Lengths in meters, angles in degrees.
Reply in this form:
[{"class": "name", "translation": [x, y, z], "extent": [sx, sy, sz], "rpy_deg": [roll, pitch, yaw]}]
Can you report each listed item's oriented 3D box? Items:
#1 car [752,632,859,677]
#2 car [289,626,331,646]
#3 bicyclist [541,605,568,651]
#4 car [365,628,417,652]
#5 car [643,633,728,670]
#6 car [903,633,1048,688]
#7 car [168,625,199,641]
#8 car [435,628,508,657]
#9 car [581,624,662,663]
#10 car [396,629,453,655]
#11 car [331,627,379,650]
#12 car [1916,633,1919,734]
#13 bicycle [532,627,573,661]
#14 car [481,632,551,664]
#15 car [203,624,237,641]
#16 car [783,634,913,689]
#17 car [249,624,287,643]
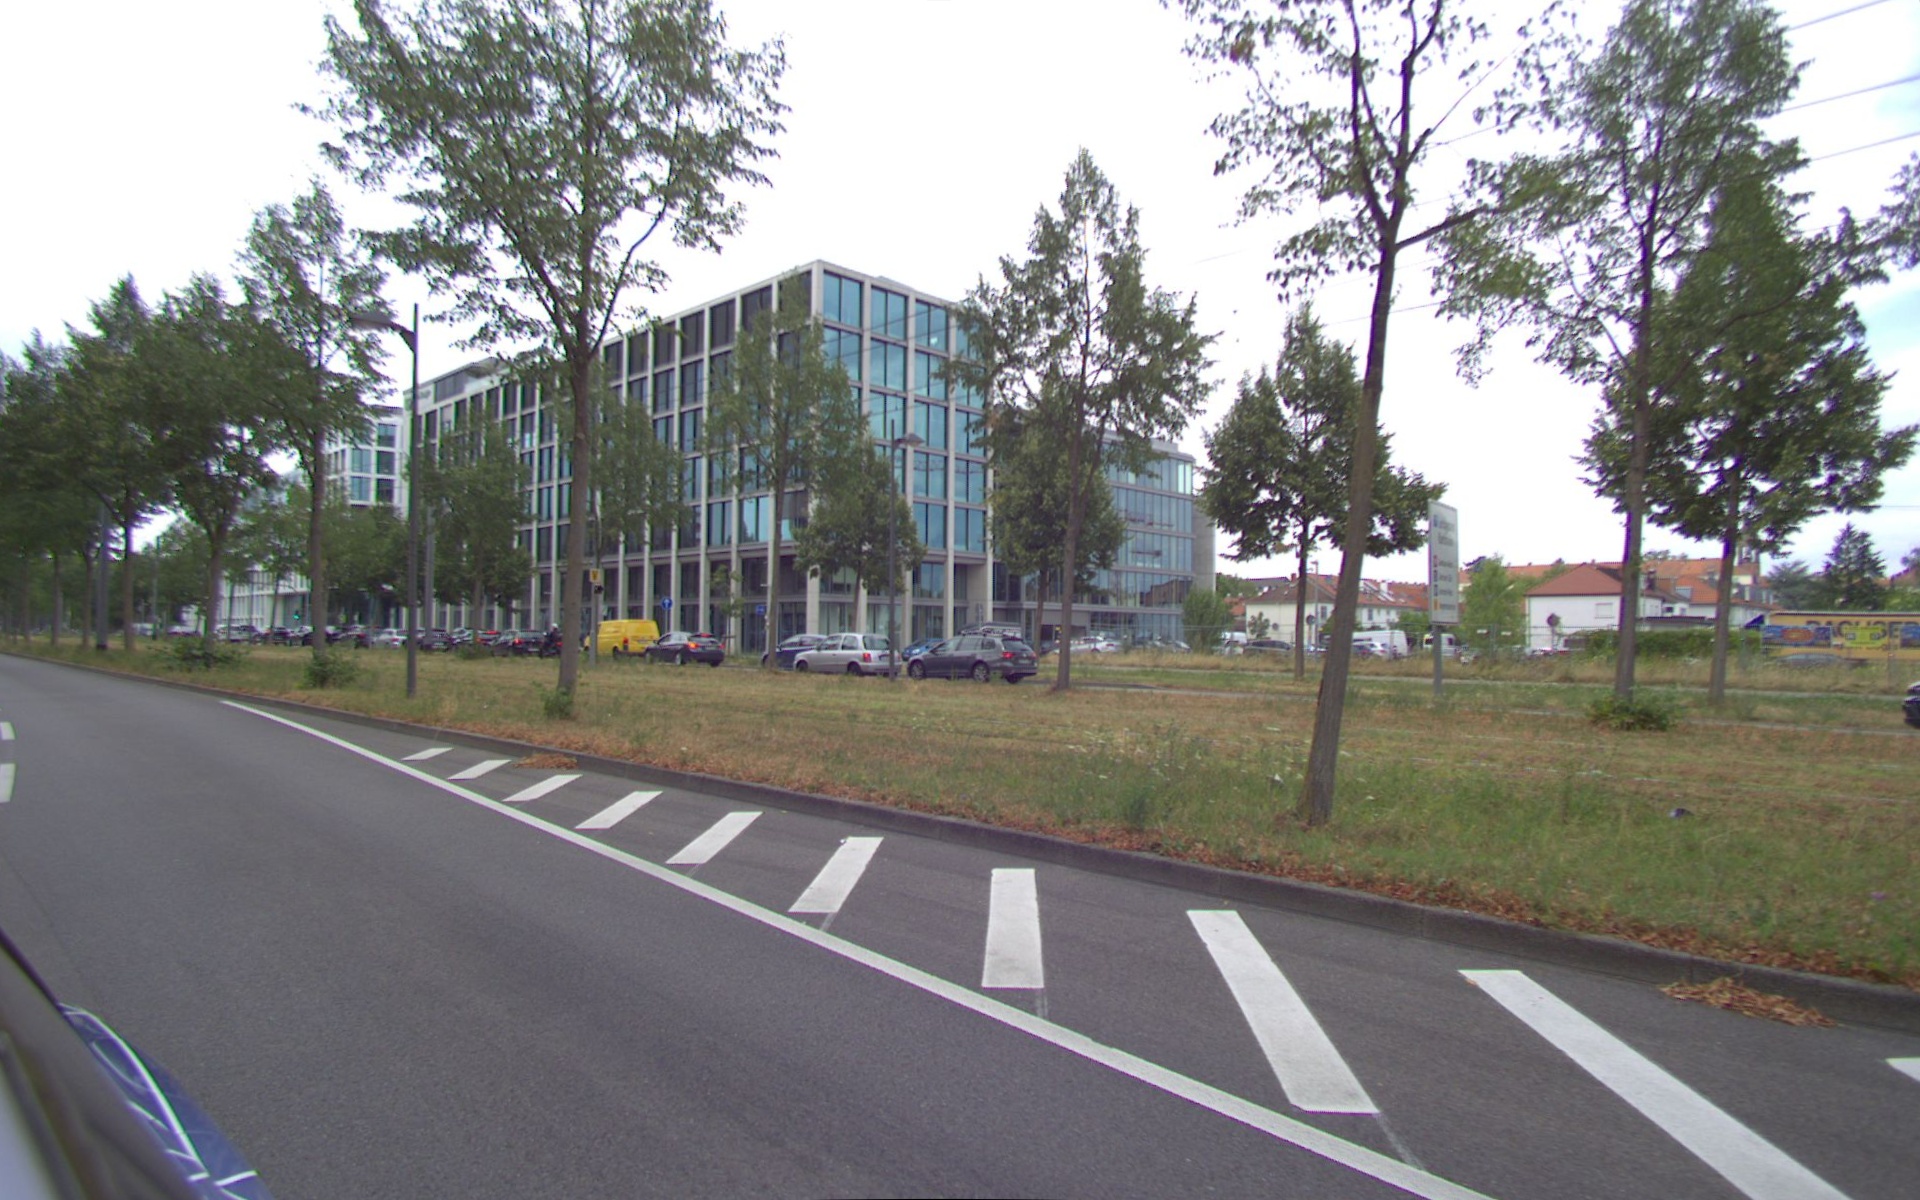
[{"class": "car", "translation": [-5.539, 1.900, 36.032], "extent": [3.864, 1.508, 1.730], "rpy_deg": [-1, -3, 42]}, {"class": "car", "translation": [-47.789, 2.625, 74.373], "extent": [3.865, 1.468, 1.729], "rpy_deg": [-1, -3, 43]}, {"class": "bicyclist", "translation": [-18.241, 1.230, 45.489], "extent": [0.994, 2.029, 0.733], "rpy_deg": [-1, 0, 40]}, {"class": "car", "translation": [-35.093, 2.454, 62.357], "extent": [3.865, 1.468, 1.729], "rpy_deg": [-1, -3, 43]}, {"class": "car", "translation": [-11.560, 2.121, 42.509], "extent": [3.866, 1.468, 1.729], "rpy_deg": [-1, -3, 44]}, {"class": "car", "translation": [0.432, 1.779, 30.676], "extent": [4.276, 1.541, 1.731], "rpy_deg": [-1, -3, 40]}, {"class": "car", "translation": [-76.100, 3.217, 99.157], "extent": [3.865, 1.468, 1.729], "rpy_deg": [-1, -3, 43]}, {"class": "car", "translation": [-25.295, 2.168, 52.359], "extent": [3.998, 1.429, 1.973], "rpy_deg": [-1, -3, 41]}, {"class": "car", "translation": [-16.091, 2.027, 48.008], "extent": [1.929, 1.785, 4.447], "rpy_deg": [2, -3, -44]}, {"class": "car", "translation": [-30.749, 2.397, 58.045], "extent": [3.865, 1.468, 1.729], "rpy_deg": [-1, -3, 43]}, {"class": "car", "translation": [-39.607, 2.512, 66.237], "extent": [3.865, 1.468, 1.729], "rpy_deg": [-1, -3, 43]}, {"class": "car", "translation": [17.311, 1.325, 14.805], "extent": [4.688, 1.669, 1.809], "rpy_deg": [-1, -3, 40]}, {"class": "bicycle", "translation": [-18.374, 1.977, 45.594], "extent": [2.356, 1.499, 0.701], "rpy_deg": [-2, -1, 41]}, {"class": "car", "translation": [-21.295, 2.273, 48.497], "extent": [3.866, 1.468, 1.729], "rpy_deg": [-2, -3, 44]}, {"class": "car", "translation": [-66.067, 2.873, 90.354], "extent": [3.865, 1.468, 1.729], "rpy_deg": [-1, -3, 43]}, {"class": "car", "translation": [-3.366, 1.767, 30.094], "extent": [3.864, 1.508, 1.730], "rpy_deg": [-1, -3, 42]}, {"class": "car", "translation": [-56.460, 2.746, 82.580], "extent": [3.865, 1.468, 1.729], "rpy_deg": [-1, -3, 43]}]
